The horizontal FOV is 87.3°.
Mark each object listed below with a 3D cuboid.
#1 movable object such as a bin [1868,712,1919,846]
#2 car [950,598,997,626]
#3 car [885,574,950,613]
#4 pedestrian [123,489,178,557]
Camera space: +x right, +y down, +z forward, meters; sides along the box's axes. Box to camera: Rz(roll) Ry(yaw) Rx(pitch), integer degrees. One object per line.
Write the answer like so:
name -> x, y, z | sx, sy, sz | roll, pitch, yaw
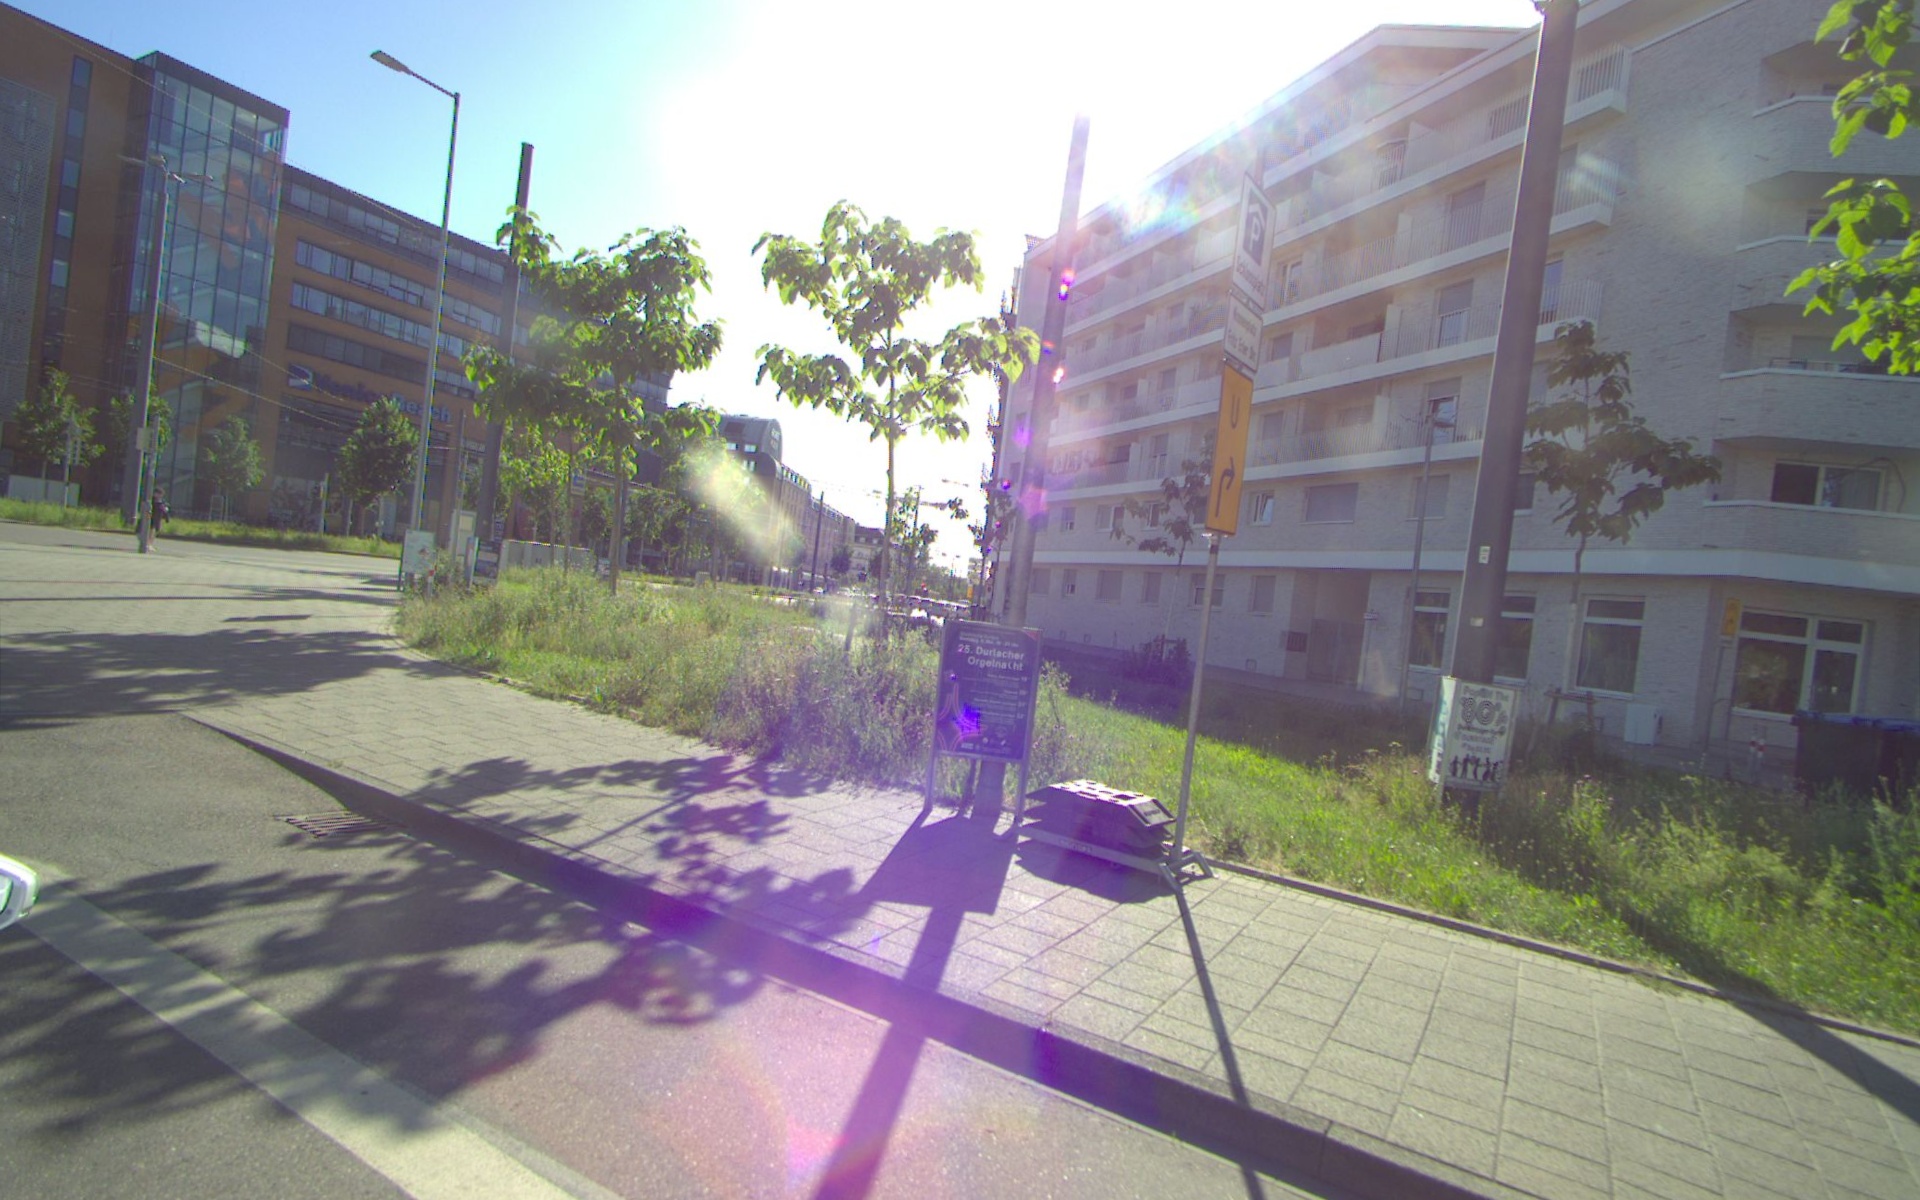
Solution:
movable object such as a bin -> 11.187, 2.075, 11.053 | 1.052, 1.416, 1.303 | 7, 1, -3
car -> 1.210, 1.098, 90.293 | 3.928, 2.038, 1.999 | 7, 0, -3
car -> -2.847, -0.441, 66.650 | 3.931, 2.038, 1.997 | 7, 0, -7
pedestrian -> -22.338, -2.121, 27.767 | 0.748, 1.730, 0.808 | 7, 1, 29
